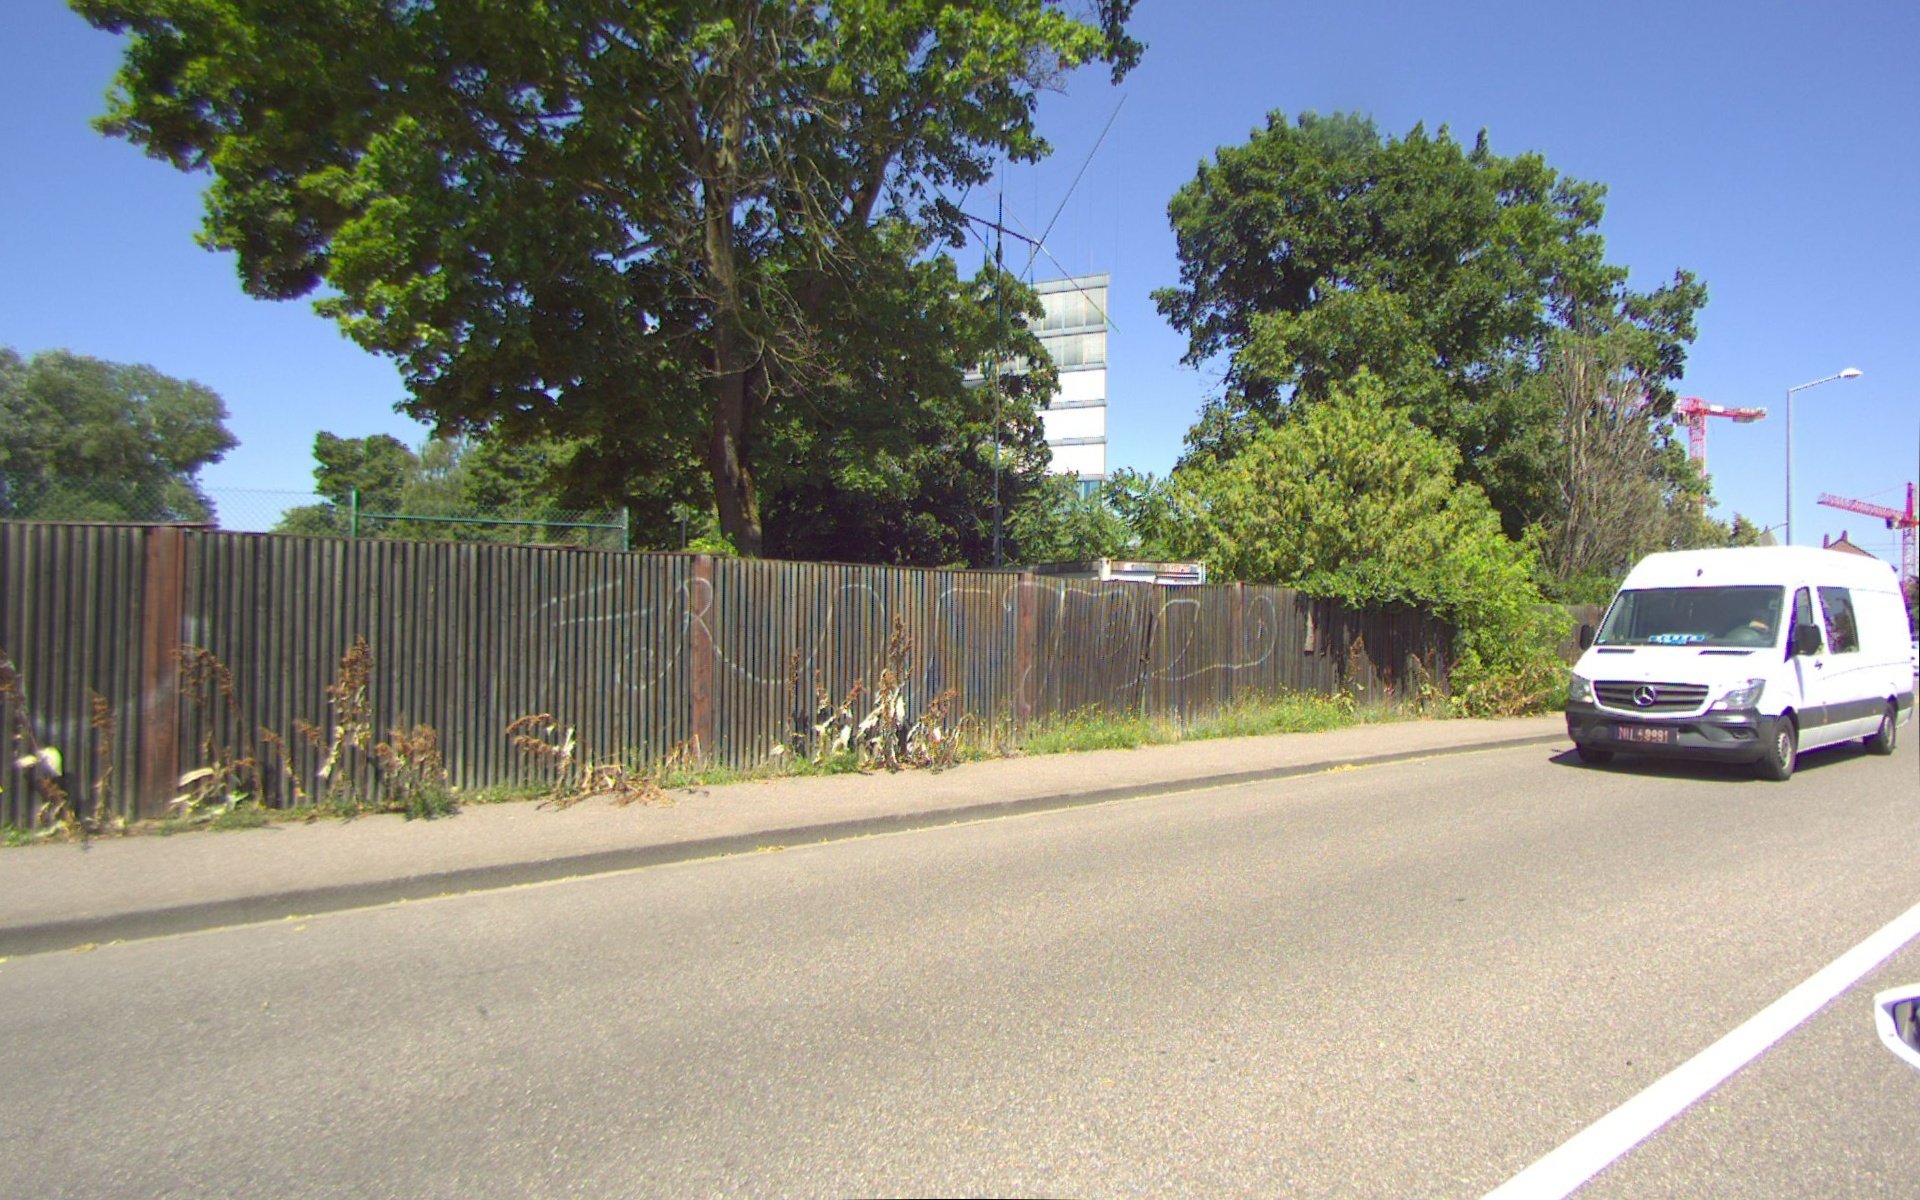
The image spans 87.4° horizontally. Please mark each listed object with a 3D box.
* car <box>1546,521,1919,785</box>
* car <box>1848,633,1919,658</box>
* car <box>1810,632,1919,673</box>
[{"bbox_3d":[9.954,0.627,12.634,6.764,2.572,2.005,2,-2,-37],"label":"car"},{"bbox_3d":[60.756,2.965,65.493,4.136,1.520,1.713,1,-1,3],"label":"car"},{"bbox_3d":[36.209,2.042,39.616,1.603,1.463,4.015,1,-1,-8],"label":"car"}]
